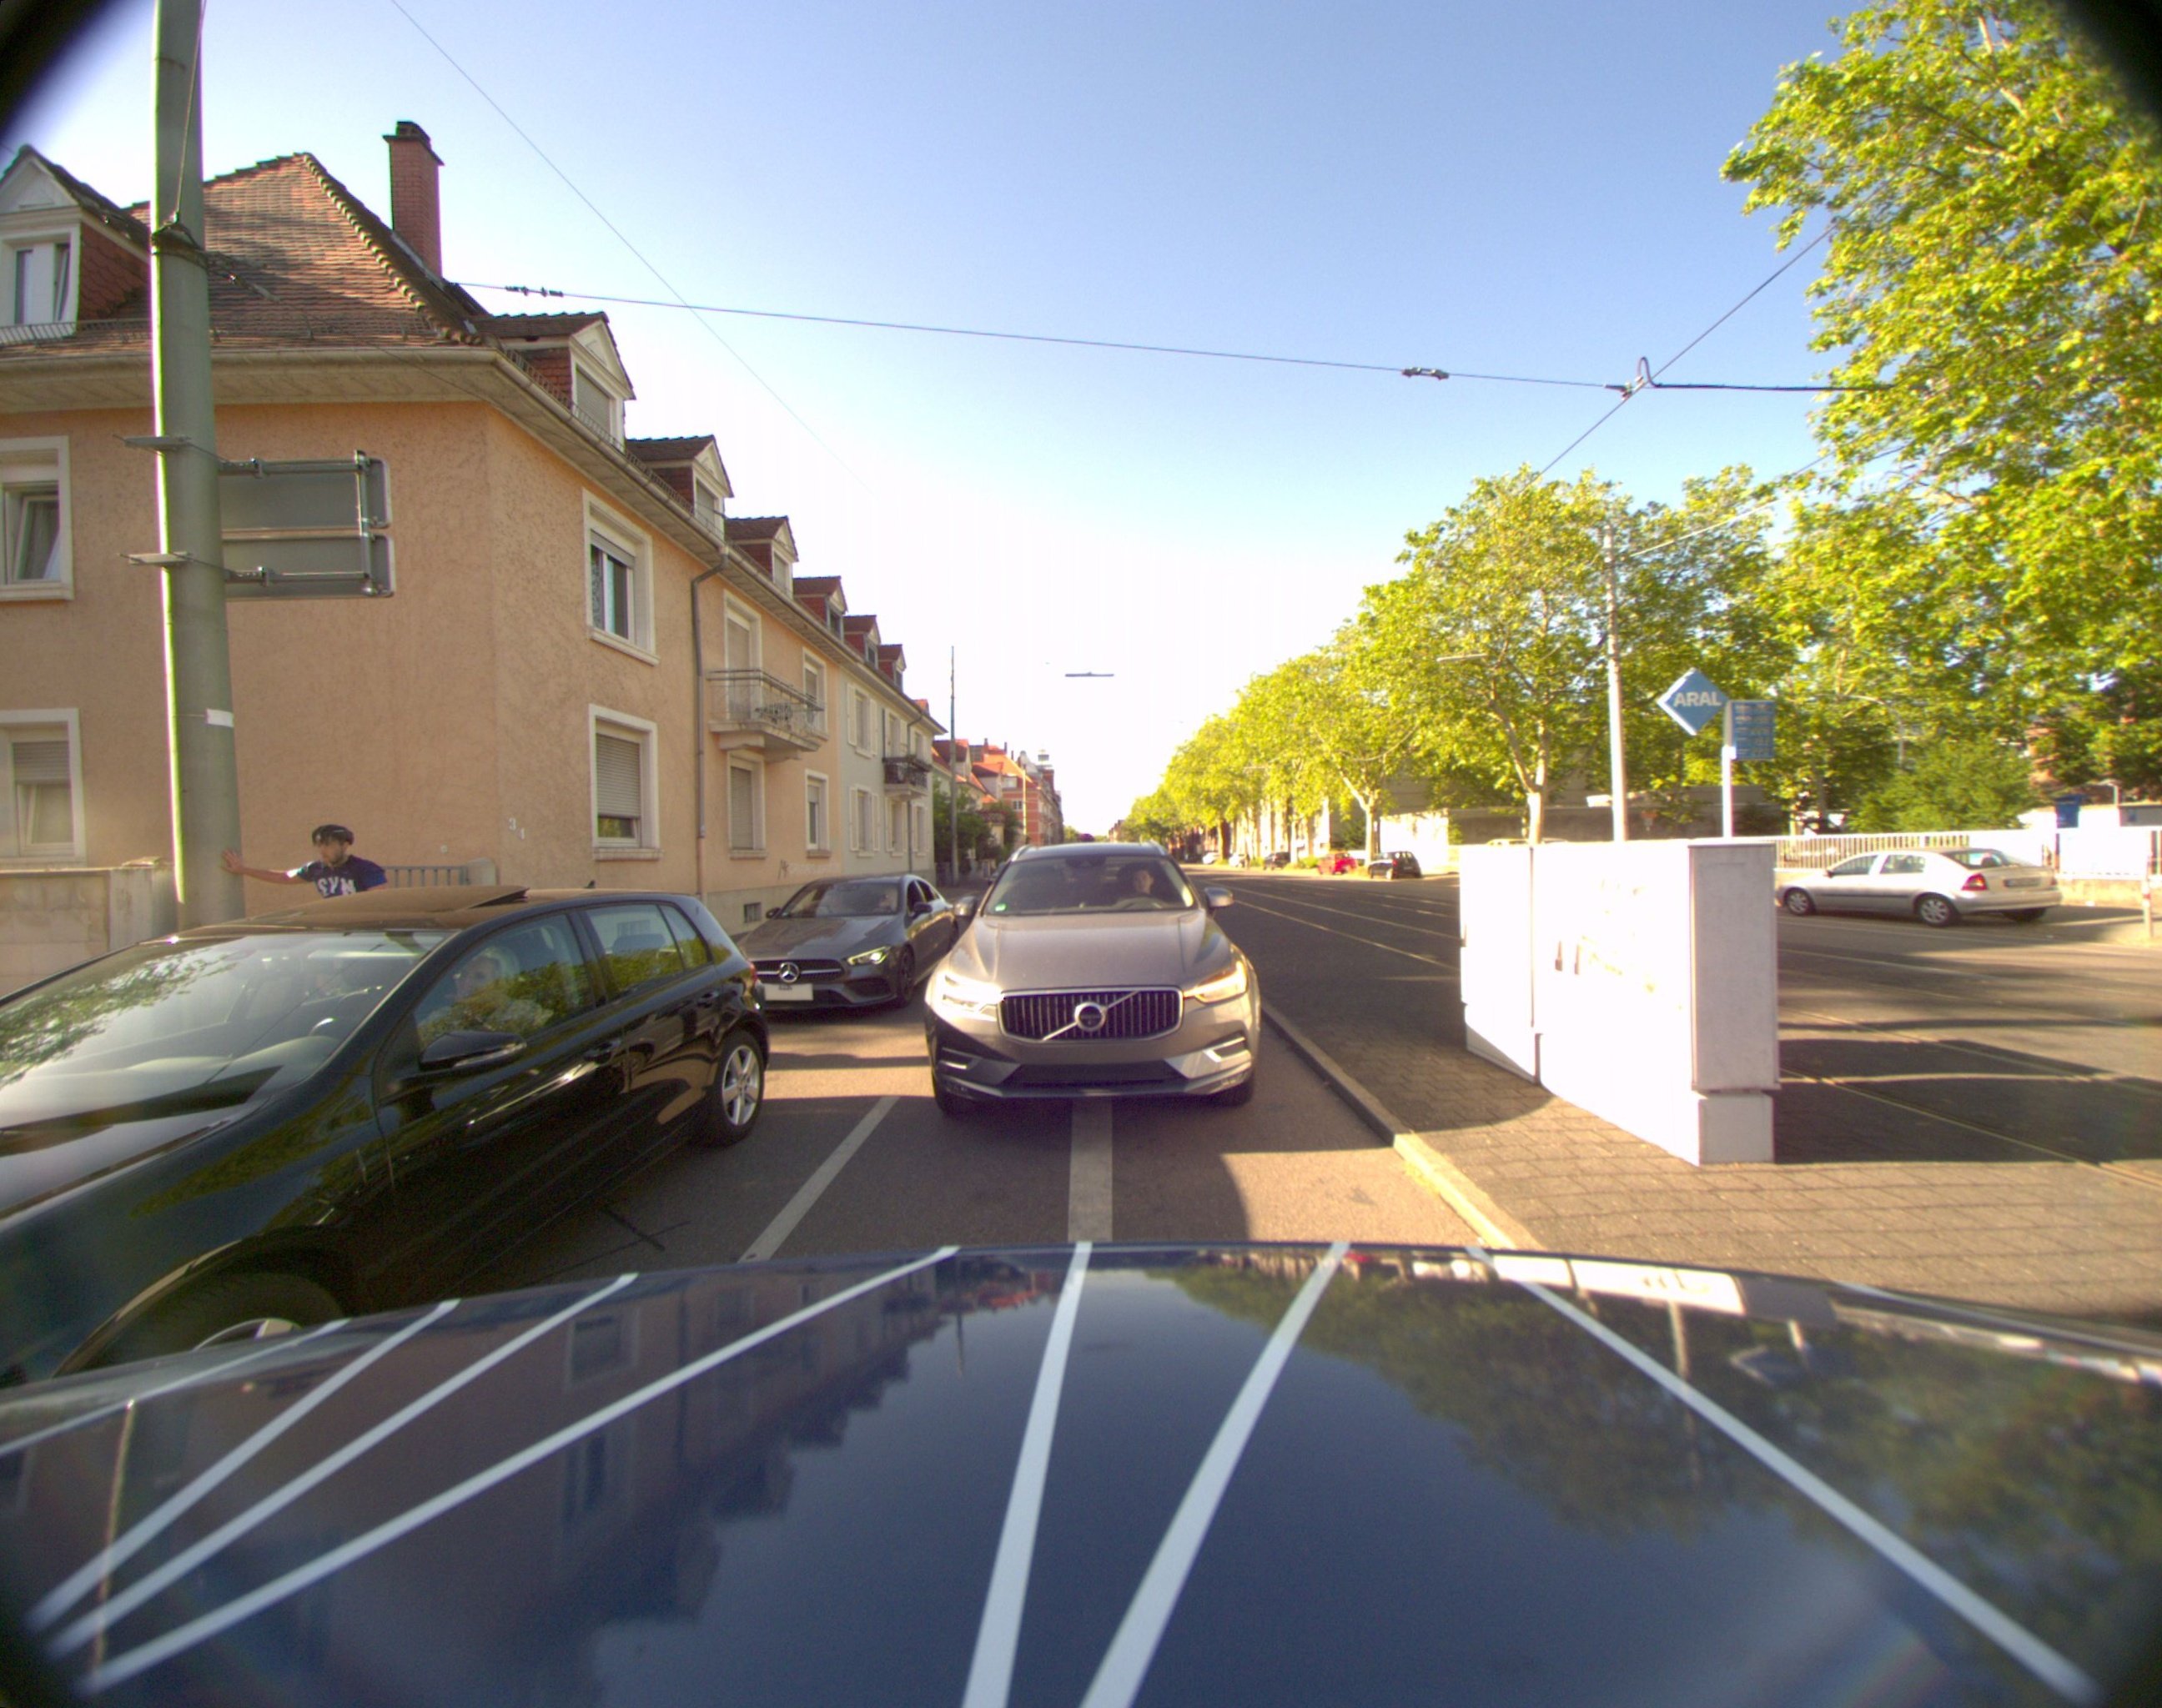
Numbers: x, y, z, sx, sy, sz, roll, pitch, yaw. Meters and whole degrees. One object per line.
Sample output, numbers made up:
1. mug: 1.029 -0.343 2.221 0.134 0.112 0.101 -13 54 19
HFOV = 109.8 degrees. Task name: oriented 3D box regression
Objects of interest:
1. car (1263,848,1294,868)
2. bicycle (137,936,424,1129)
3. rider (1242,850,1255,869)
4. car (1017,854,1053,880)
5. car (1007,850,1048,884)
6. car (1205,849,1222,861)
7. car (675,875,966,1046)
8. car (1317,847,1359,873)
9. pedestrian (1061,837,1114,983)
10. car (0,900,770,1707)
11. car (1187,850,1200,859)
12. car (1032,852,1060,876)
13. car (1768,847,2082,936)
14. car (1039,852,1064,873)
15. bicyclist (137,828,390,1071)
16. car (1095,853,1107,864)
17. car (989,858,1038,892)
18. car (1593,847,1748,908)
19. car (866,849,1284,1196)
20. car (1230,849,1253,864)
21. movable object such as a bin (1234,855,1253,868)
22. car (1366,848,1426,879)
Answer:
1. car: 17.131 0.334 65.956 1.754 1.582 3.878 -5 1 3
2. bicycle: -5.890 1.251 5.740 0.556 1.069 1.624 2 0 -7
3. rider: 14.797 0.456 67.076 0.725 1.639 1.105 -2 1 -5
4. car: -2.790 0.770 47.048 1.825 1.424 4.334 -2 1 1
5. car: -2.906 0.695 42.397 1.825 1.701 4.334 -2 1 1
6. car: 17.578 0.107 100.683 1.661 1.452 3.730 -5 1 3
7. car: -2.713 1.036 9.164 1.825 1.422 4.491 -2 -1 1
8. car: 16.897 0.363 50.059 1.661 1.486 3.377 -5 1 3
9. pedestrian: 0.088 0.707 9.927 0.609 1.832 0.599 -2 1 1
10. car: -2.802 1.049 2.625 1.717 1.430 3.990 -2 1 1
11. car: 18.559 0.065 125.559 1.661 1.452 3.730 -5 1 3
12. car: -2.780 0.780 60.916 1.825 1.701 4.334 -2 1 1
13. car: 16.199 0.634 14.954 1.687 1.358 3.989 -6 0 1
14. car: -2.592 0.702 67.282 1.825 1.701 4.334 -2 1 1
15. bicyclist: -6.071 0.683 5.707 1.021 1.684 0.729 2 0 -7
16. car: 3.123 0.698 119.491 1.851 1.640 3.999 -2 1 1
17. car: -3.230 0.970 37.142 1.825 1.422 4.334 -2 1 1
18. car: 16.460 0.596 21.453 1.619 1.436 3.606 -5 1 3
19. car: 0.120 0.803 5.781 1.924 1.579 4.387 -2 1 4
20. car: 17.623 0.251 83.469 1.754 1.532 3.878 -5 1 3
21. movable object such as a bin: 14.624 0.679 68.400 1.178 1.097 1.834 -2 1 -5
22. car: 16.837 0.452 40.800 1.723 1.436 3.769 -5 1 3
